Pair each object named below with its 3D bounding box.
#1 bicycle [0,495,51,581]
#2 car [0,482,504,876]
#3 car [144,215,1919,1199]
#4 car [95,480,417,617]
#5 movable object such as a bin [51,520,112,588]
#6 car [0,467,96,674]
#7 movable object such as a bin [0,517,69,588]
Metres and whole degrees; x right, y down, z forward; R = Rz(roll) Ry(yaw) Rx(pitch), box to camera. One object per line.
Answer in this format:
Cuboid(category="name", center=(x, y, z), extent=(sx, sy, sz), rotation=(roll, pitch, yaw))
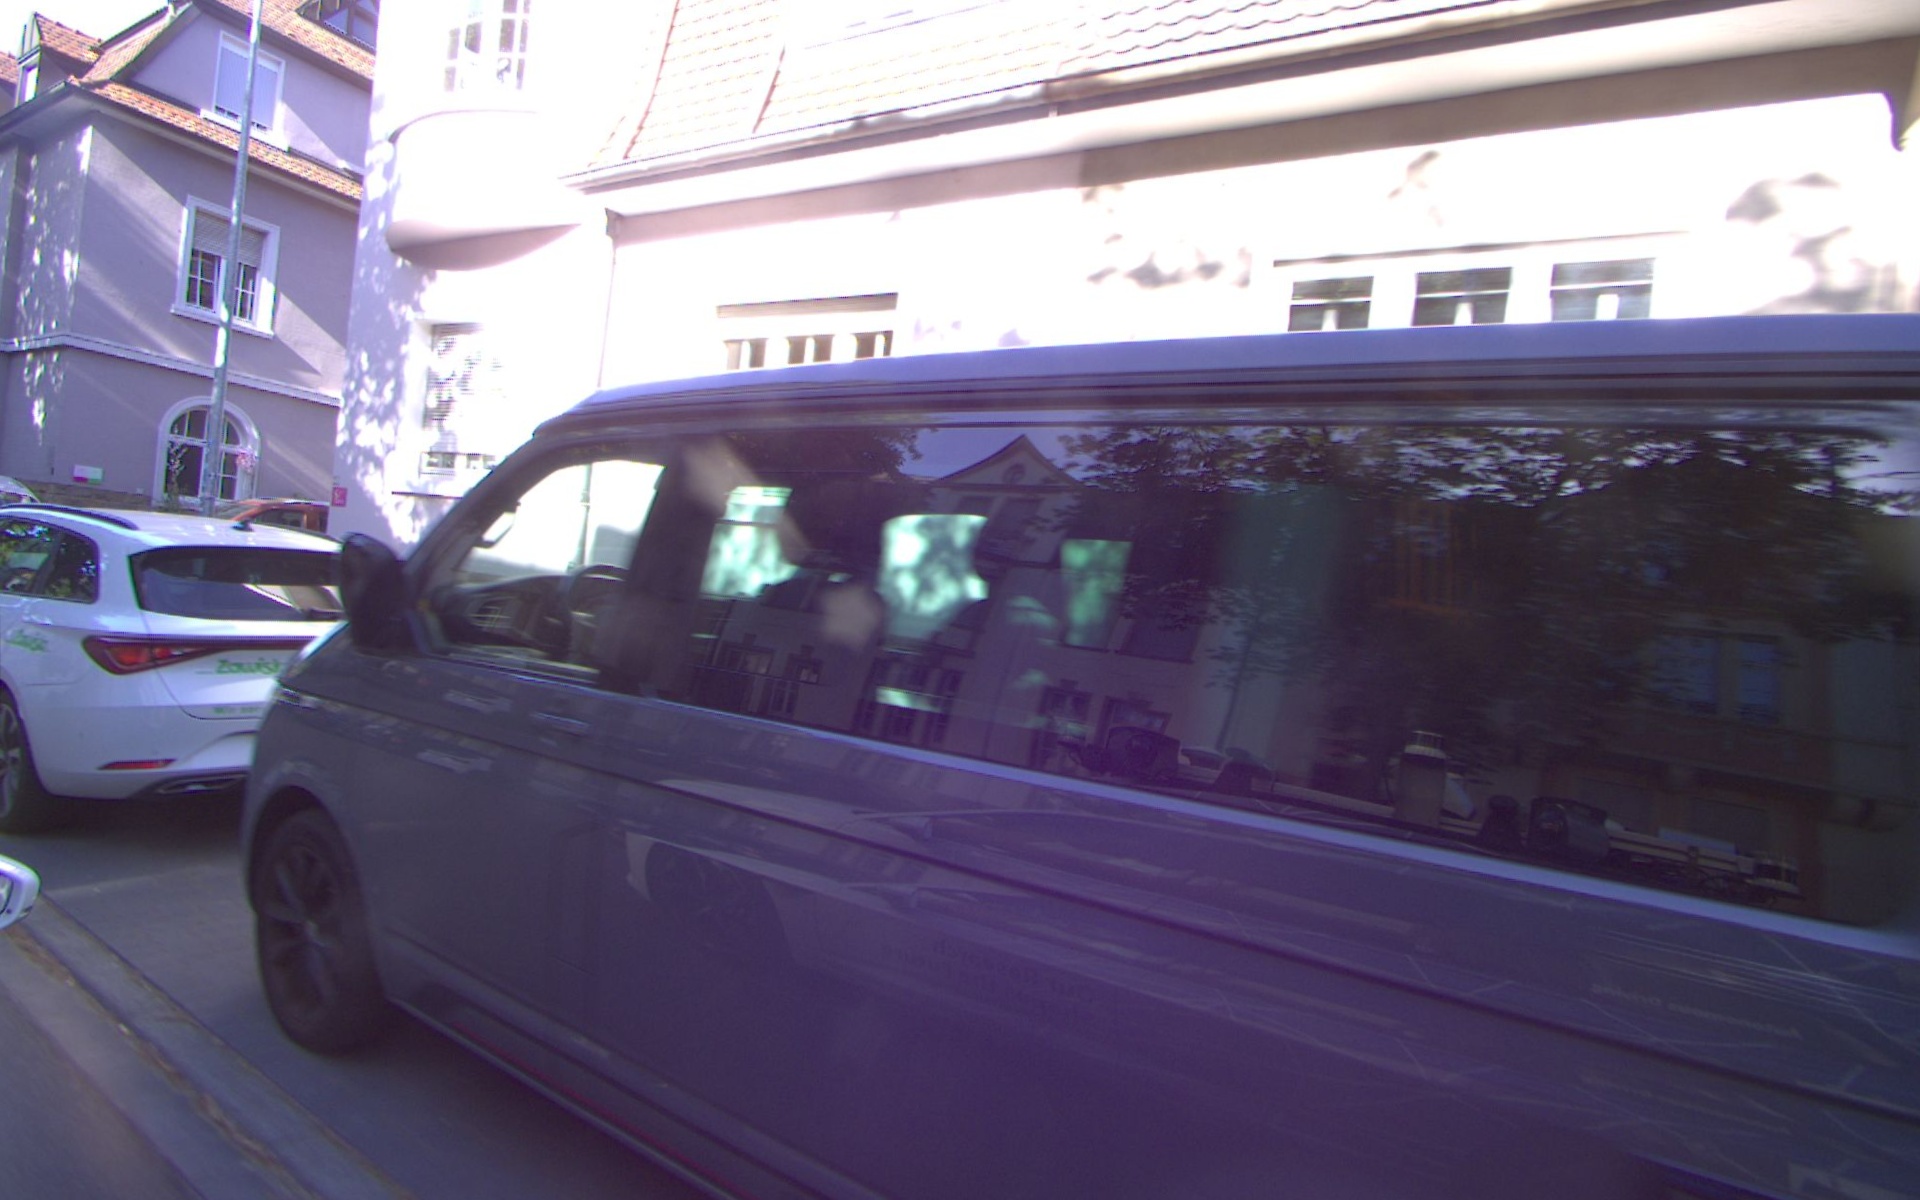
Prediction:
Cuboid(category="bicycle", center=(-16.759, -1.143, 17.284), extent=(2.213, 1.355, 1.083), rotation=(7, 1, 32))
Cuboid(category="car", center=(-4.758, 0.165, 5.707), extent=(4.364, 1.476, 1.680), rotation=(7, 1, 31))
Cuboid(category="car", center=(-0.217, 0.457, 2.832), extent=(4.705, 1.941, 1.865), rotation=(7, 2, 34))
Cuboid(category="car", center=(-11.997, -0.802, 17.426), extent=(1.737, 1.866, 4.141), rotation=(6, 0, 33))
Cuboid(category="movable object such as a bin", center=(-15.006, -0.781, 17.177), extent=(0.607, 1.053, 0.569), rotation=(7, 1, 31))
Cuboid(category="car", center=(-9.357, -0.442, 8.771), extent=(3.936, 1.622, 1.788), rotation=(8, 3, 34))
Cuboid(category="movable object such as a bin", center=(-15.246, -0.782, 16.523), extent=(0.814, 1.053, 0.648), rotation=(7, 1, 31))
